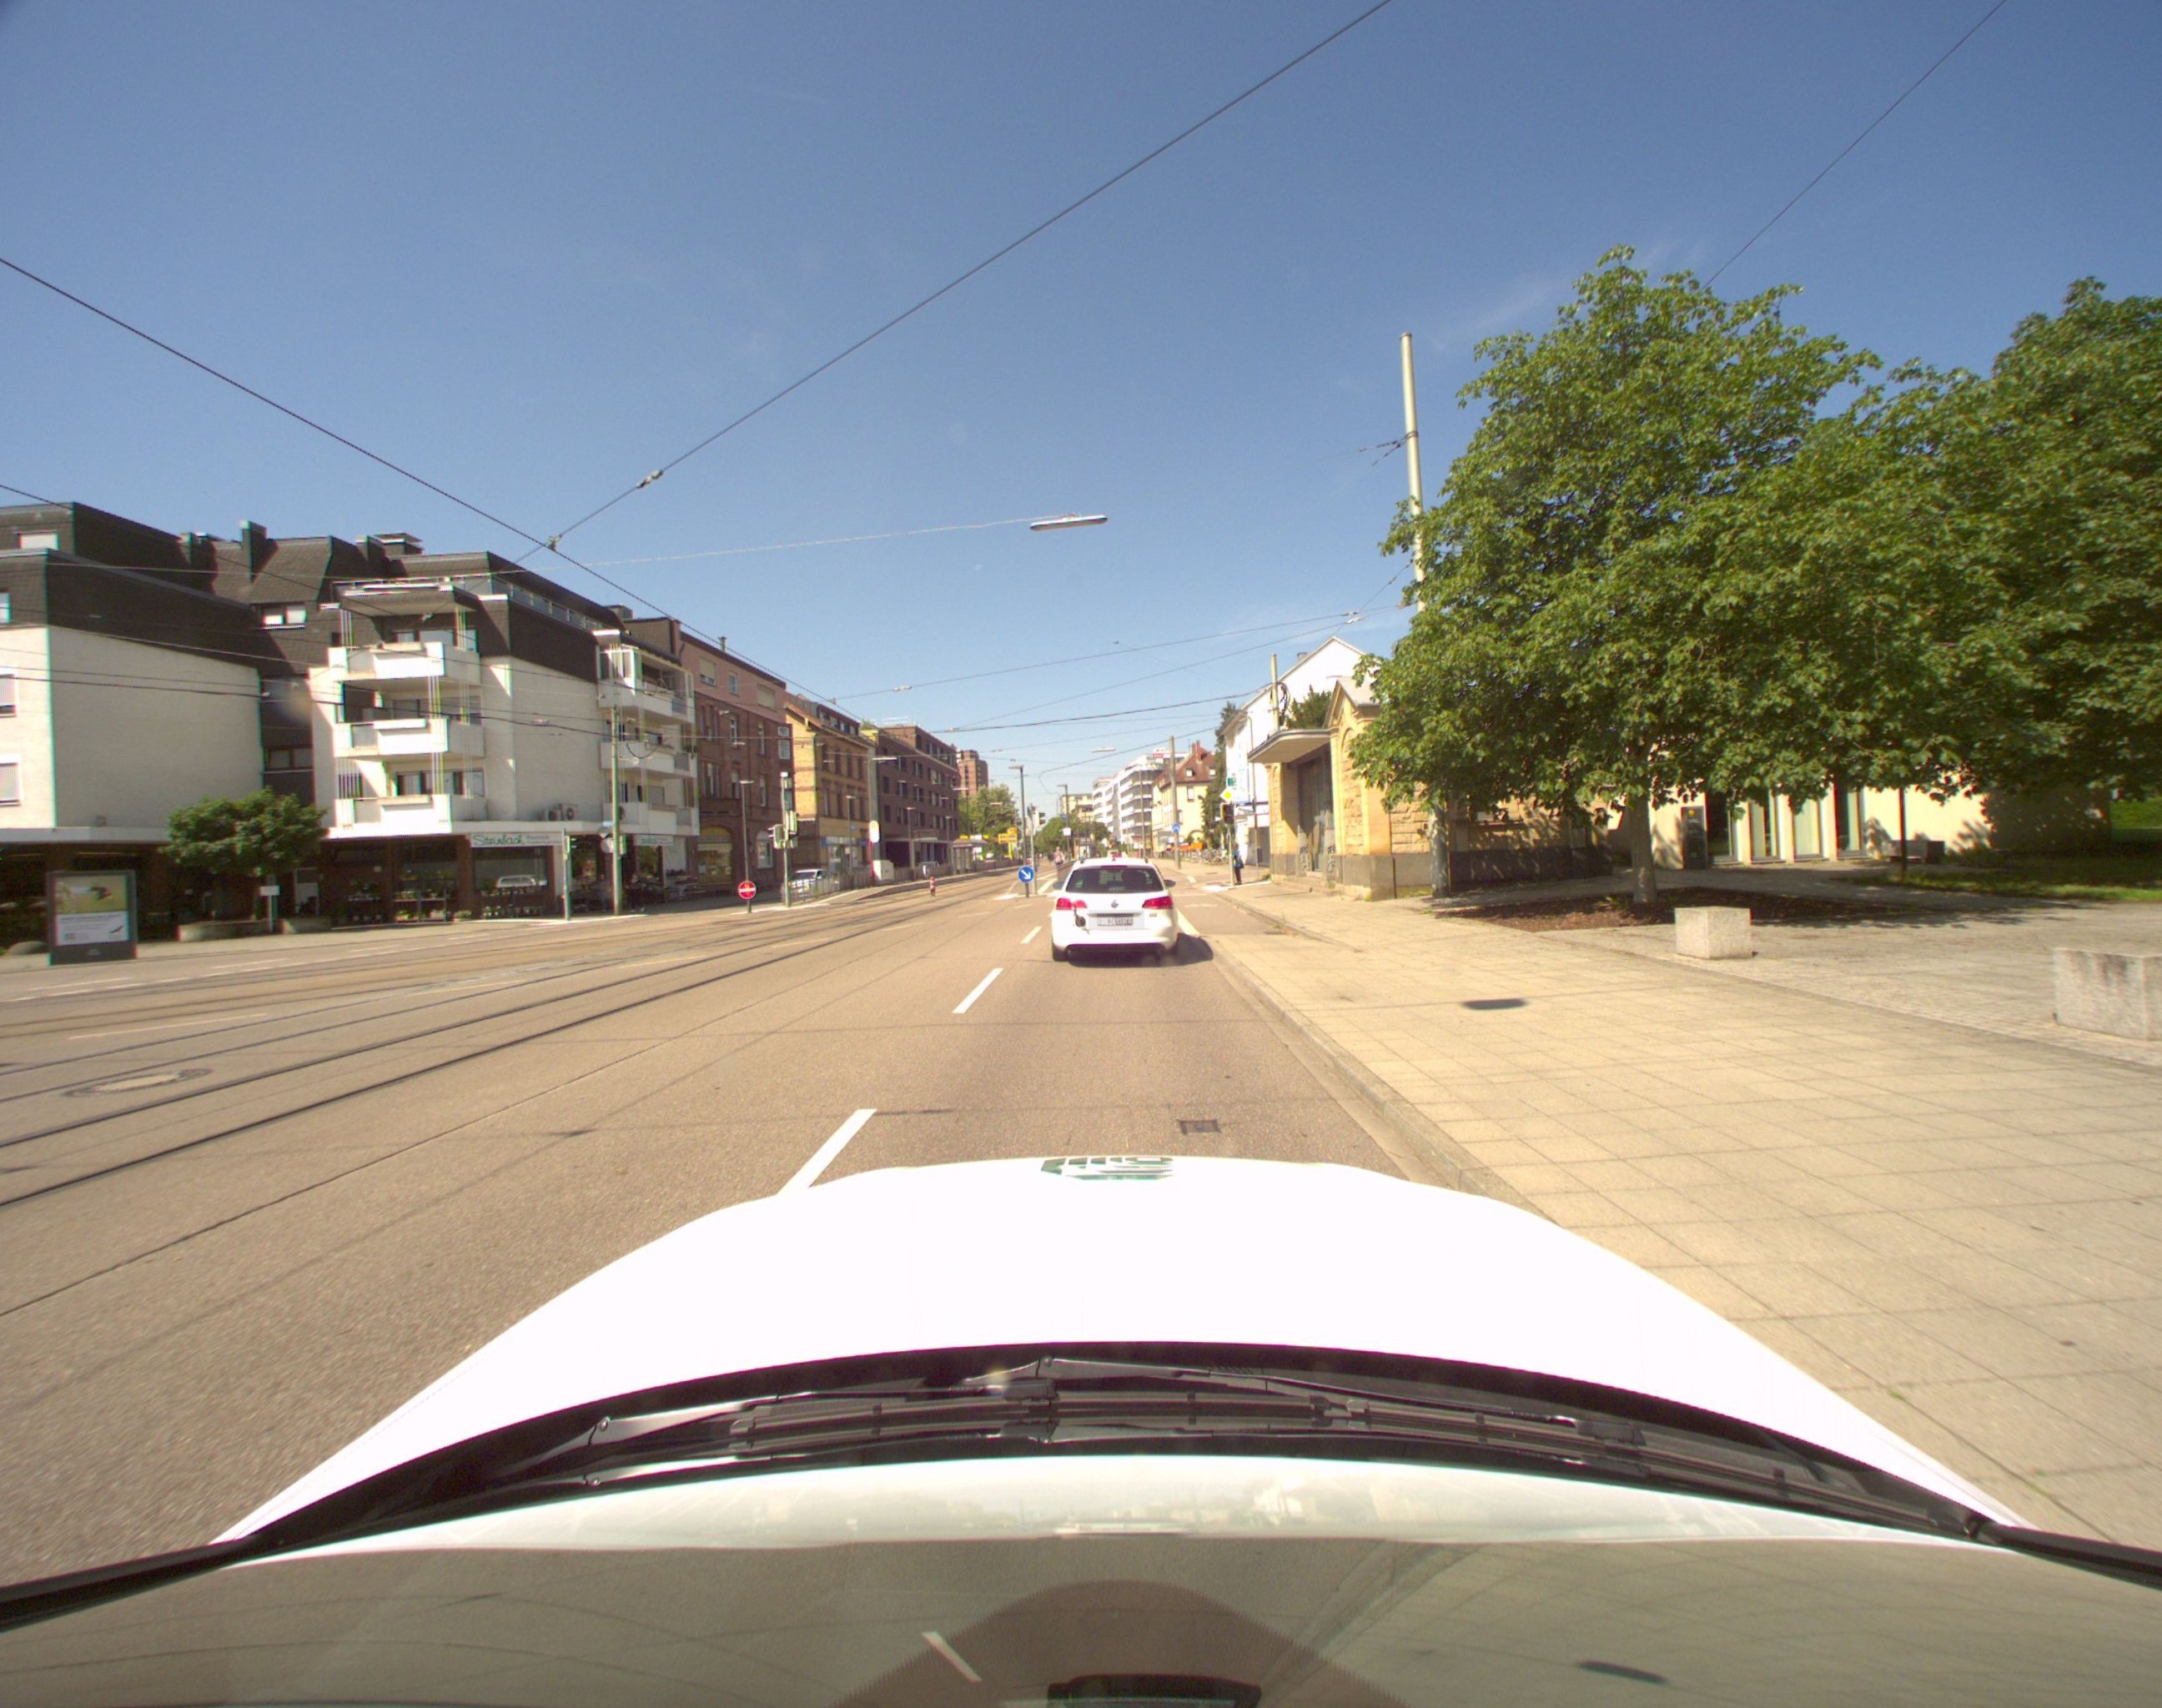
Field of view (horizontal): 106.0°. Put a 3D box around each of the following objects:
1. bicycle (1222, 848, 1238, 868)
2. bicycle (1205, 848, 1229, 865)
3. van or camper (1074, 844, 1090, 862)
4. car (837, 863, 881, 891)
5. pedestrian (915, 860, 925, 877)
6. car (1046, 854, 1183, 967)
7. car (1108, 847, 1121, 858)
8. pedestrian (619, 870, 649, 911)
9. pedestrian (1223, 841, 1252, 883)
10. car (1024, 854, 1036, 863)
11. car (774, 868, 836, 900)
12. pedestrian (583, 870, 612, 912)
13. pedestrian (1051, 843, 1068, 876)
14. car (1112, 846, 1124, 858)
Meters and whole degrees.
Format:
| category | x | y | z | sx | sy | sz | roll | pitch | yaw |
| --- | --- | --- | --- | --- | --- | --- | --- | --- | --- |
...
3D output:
| category | x | y | z | sx | sy | sz | roll | pitch | yaw |
| --- | --- | --- | --- | --- | --- | --- | --- | --- | --- |
| bicycle | 9.180 | 0.240 | 50.196 | 0.720 | 1.139 | 2.204 | -3 | 0 | 15 |
| bicycle | 10.286 | 0.182 | 61.535 | 1.704 | 1.130 | 0.526 | -3 | 0 | 4 |
| van or camper | 0.230 | -0.208 | 162.256 | 2.935 | 3.179 | 6.610 | -3 | 0 | -1 |
| car | -13.275 | 1.354 | 48.858 | 1.568 | 1.459 | 3.813 | -3 | 0 | -1 |
| pedestrian | -17.448 | 1.593 | 88.123 | 0.722 | 1.790 | 0.965 | -4 | 0 | 2 |
| car | 0.530 | 0.733 | 12.419 | 1.745 | 1.417 | 3.856 | -1 | 0 | 3 |
| car | 6.485 | -0.358 | 157.895 | 1.988 | 2.013 | 3.997 | -3 | 0 | -2 |
| pedestrian | -18.896 | 1.548 | 34.431 | 0.879 | 1.647 | 0.678 | -3 | 0 | -13 |
| pedestrian | 5.891 | 0.292 | 30.707 | 0.772 | 1.510 | 0.864 | -3 | 0 | 28 |
| car | -9.115 | 0.809 | 146.806 | 1.661 | 1.466 | 3.775 | -3 | 0 | 2 |
| car | -13.776 | 1.462 | 40.862 | 1.620 | 1.431 | 3.963 | -2 | 0 | 1 |
| pedestrian | -20.123 | 1.537 | 33.935 | 0.676 | 1.647 | 0.732 | -3 | 0 | 2 |
| pedestrian | -1.200 | 0.290 | 45.649 | 0.823 | 1.809 | 0.834 | -3 | 0 | 3 |
| car | 6.934 | -0.379 | 152.454 | 1.988 | 2.013 | 3.997 | -3 | 0 | -2 |
